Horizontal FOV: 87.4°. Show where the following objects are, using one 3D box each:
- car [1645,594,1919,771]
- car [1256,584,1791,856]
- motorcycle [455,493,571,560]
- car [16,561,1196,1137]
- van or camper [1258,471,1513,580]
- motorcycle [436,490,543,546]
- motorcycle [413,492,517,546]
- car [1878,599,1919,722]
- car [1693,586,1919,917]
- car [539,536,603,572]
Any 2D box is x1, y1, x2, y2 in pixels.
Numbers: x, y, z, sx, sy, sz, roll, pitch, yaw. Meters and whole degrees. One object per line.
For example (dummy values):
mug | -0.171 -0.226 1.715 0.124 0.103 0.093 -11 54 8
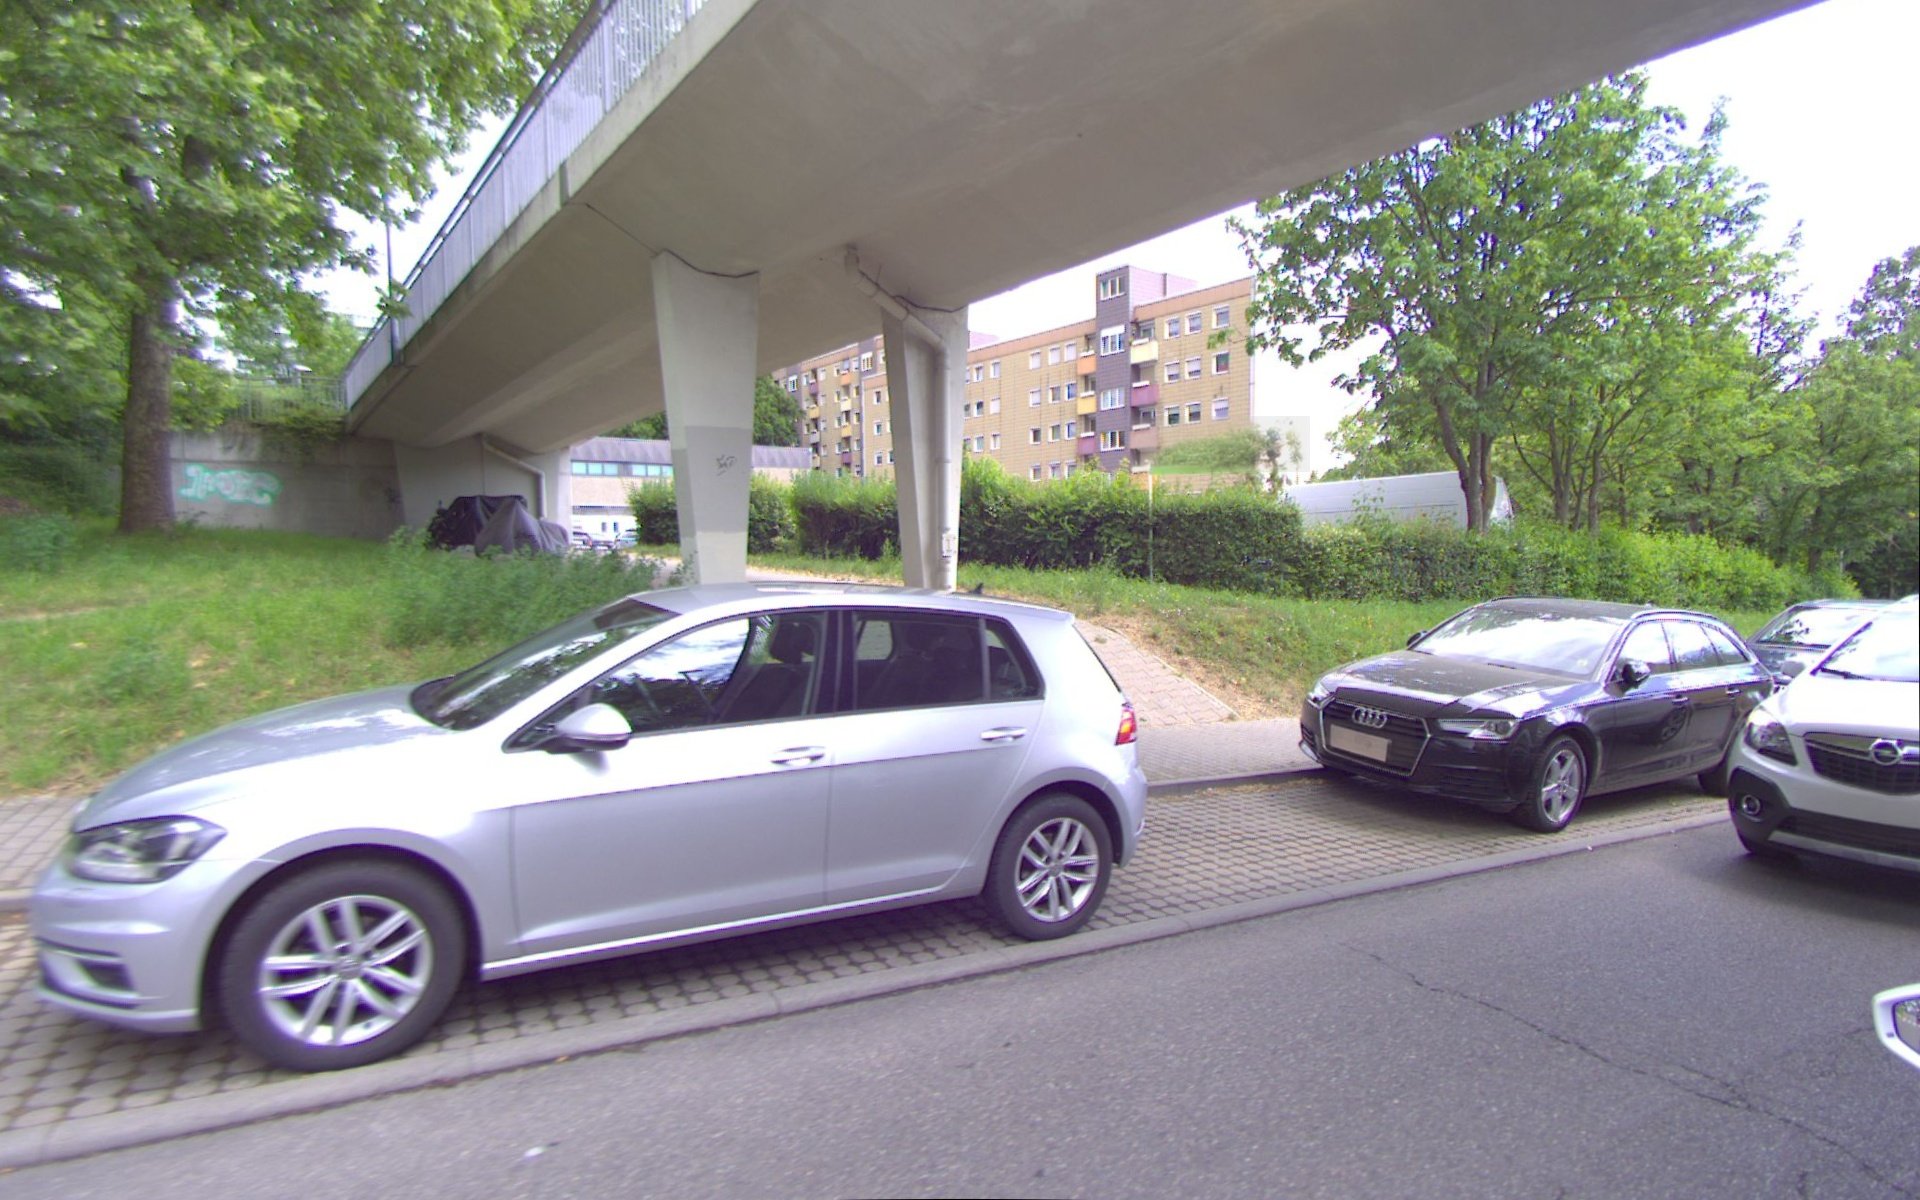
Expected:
car | 9.401 0.768 10.892 3.795 1.580 1.874 1 1 -32
car | 4.545 0.715 7.889 4.406 1.529 1.872 1 2 -35
motorcycle | -9.077 -1.486 20.494 2.011 1.288 0.884 0 3 -13
car | -1.127 0.647 4.351 3.953 1.446 1.875 1 2 -30
van or camper | 9.146 -1.564 22.032 1.980 2.114 4.821 -1 3 -35
motorcycle | -11.704 -2.006 25.015 2.293 1.288 0.877 -1 3 -35
motorcycle | -12.636 -2.047 25.676 2.293 1.288 0.877 -1 3 -35
car | 13.428 0.809 12.960 2.680 1.526 1.521 1 2 -30
car | 6.408 0.764 6.106 4.006 1.633 1.739 0 1 -31
car | -17.041 -2.008 43.897 1.723 1.478 3.960 -1 3 -35
